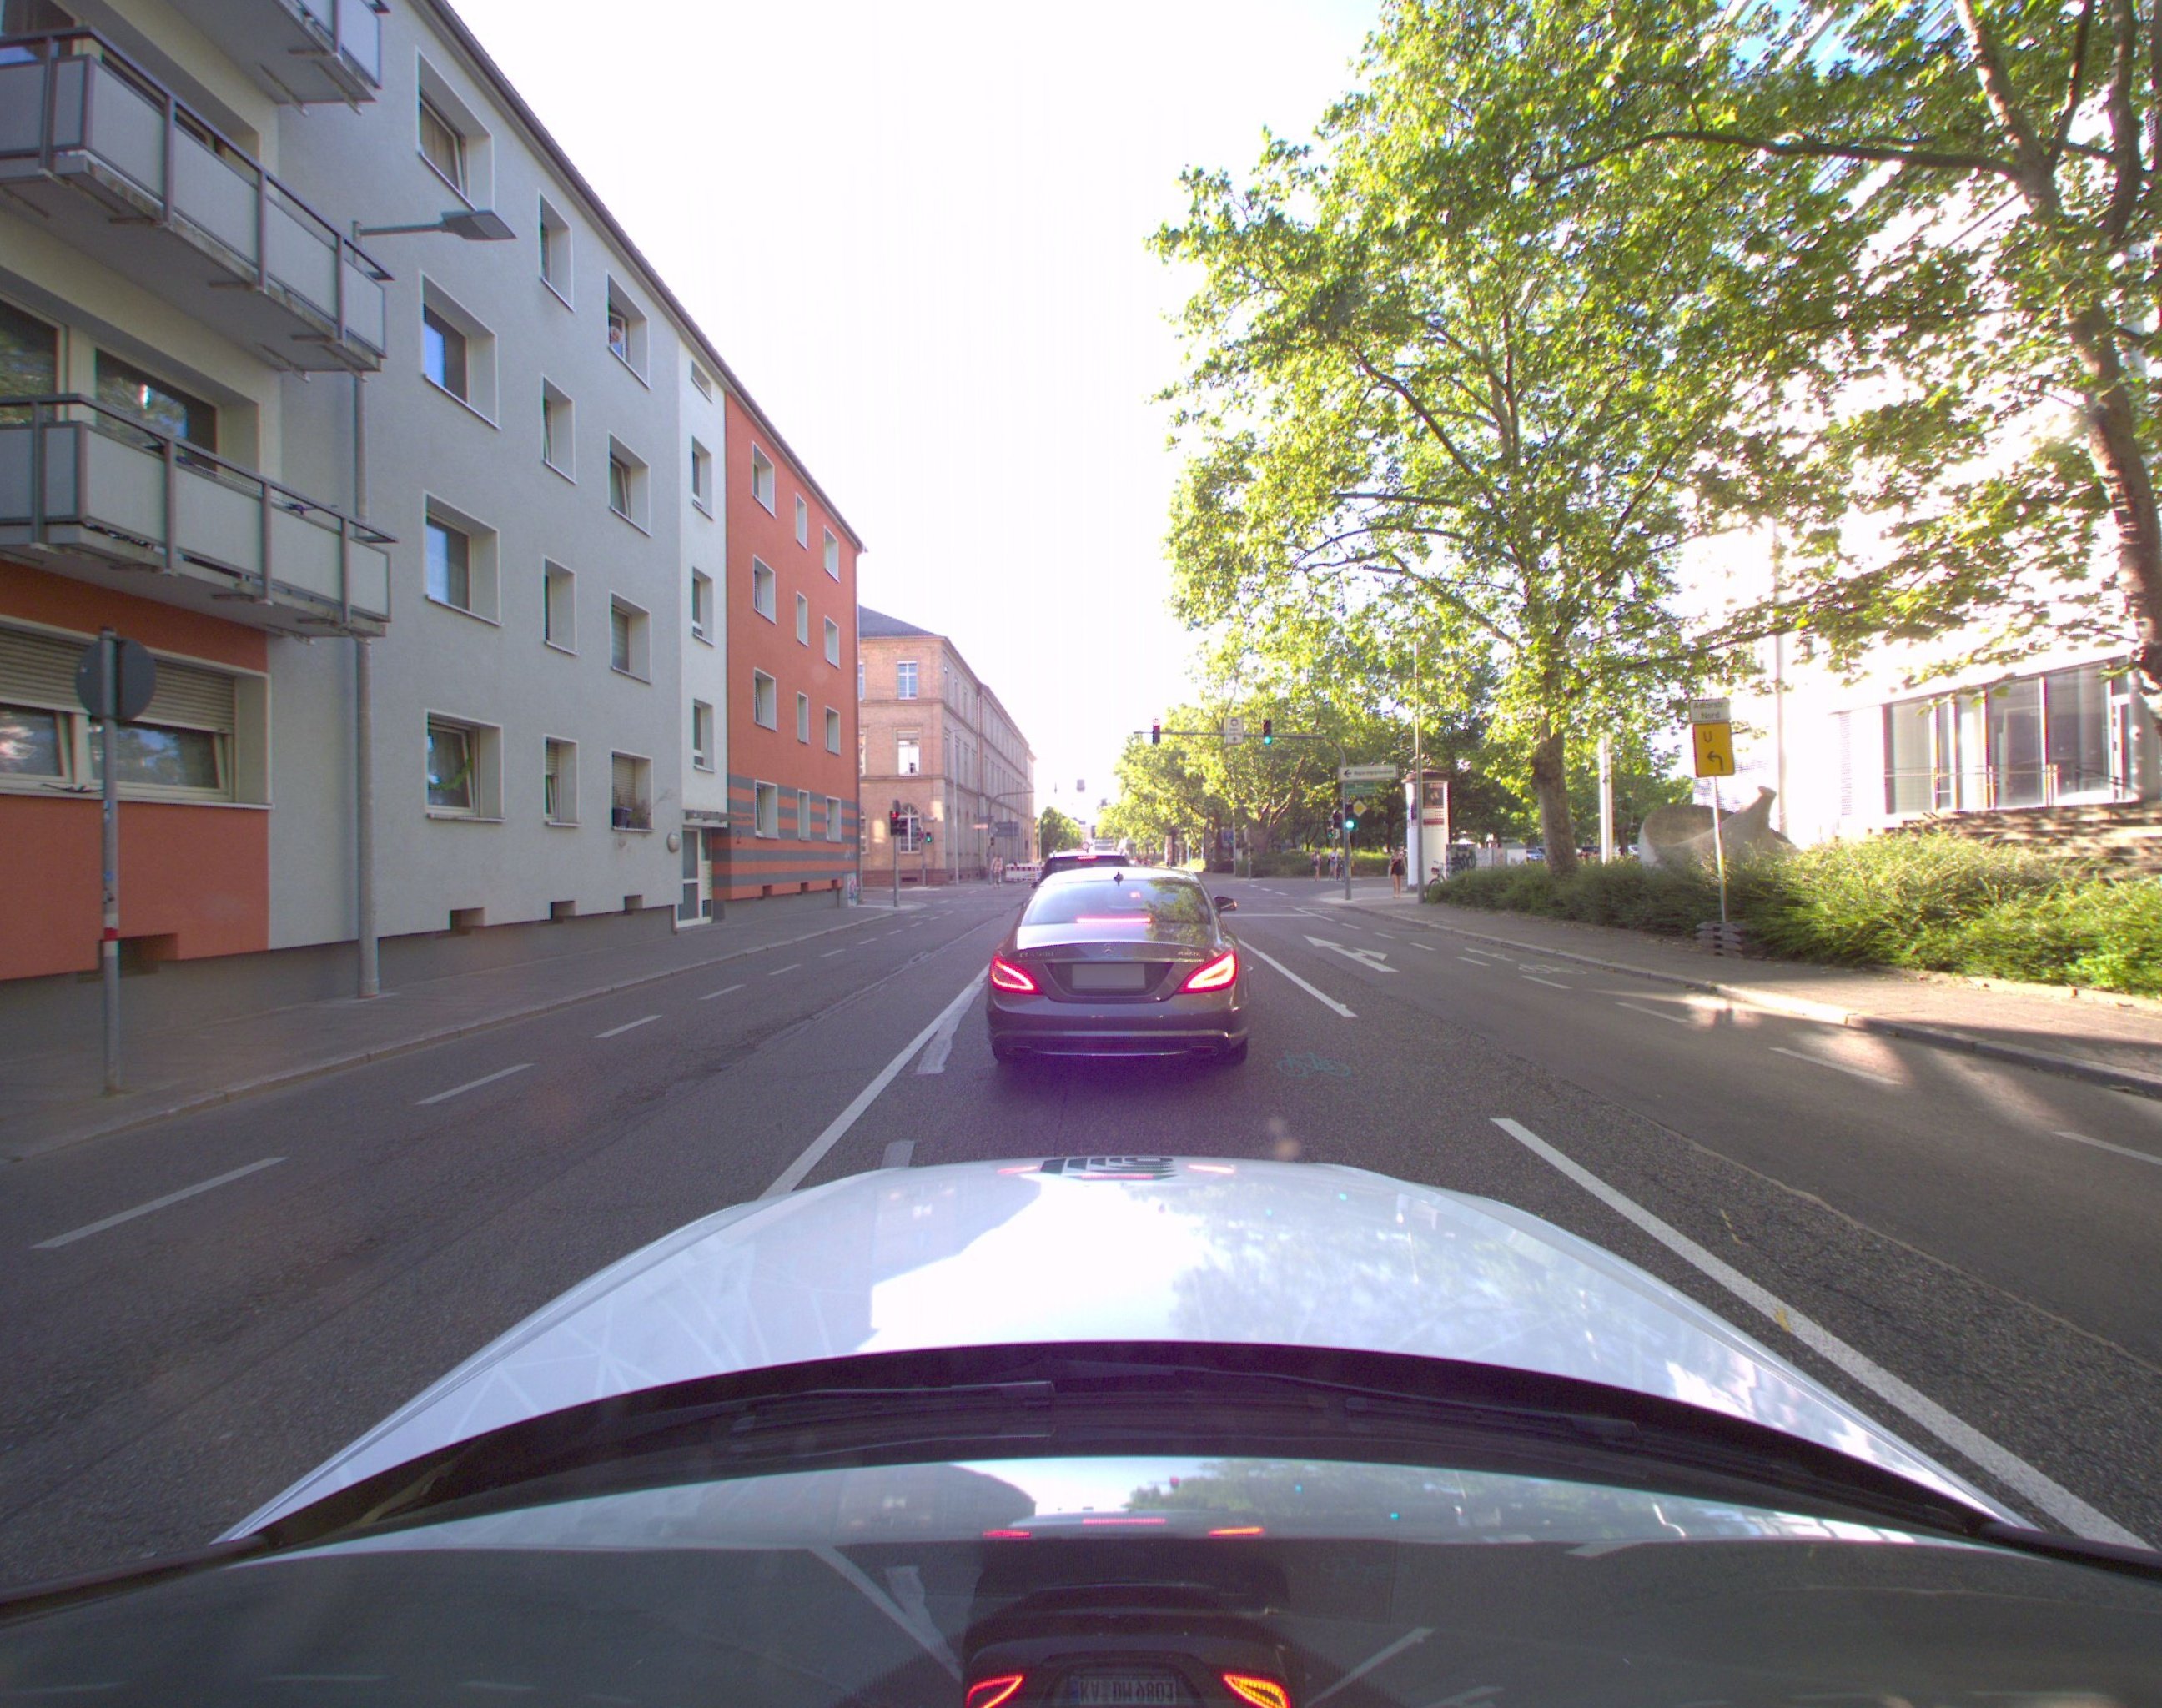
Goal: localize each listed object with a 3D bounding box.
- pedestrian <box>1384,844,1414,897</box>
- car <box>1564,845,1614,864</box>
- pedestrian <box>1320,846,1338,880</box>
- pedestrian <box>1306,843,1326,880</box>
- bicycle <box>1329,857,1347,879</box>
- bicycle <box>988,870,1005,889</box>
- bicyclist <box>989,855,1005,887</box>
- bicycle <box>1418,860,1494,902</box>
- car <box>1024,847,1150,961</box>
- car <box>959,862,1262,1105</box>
[{"bbox_3d":[10.239,0.521,26.238,0.791,1.630,0.912,-3,-2,19],"label":"pedestrian"},{"bbox_3d":[39.745,0.043,63.812,1.624,1.483,3.796,0,-1,1],"label":"car"},{"bbox_3d":[12.583,0.453,41.342,0.680,1.697,0.972,0,-1,6],"label":"pedestrian"},{"bbox_3d":[11.951,0.395,41.484,0.729,1.808,0.909,-2,-2,1],"label":"pedestrian"},{"bbox_3d":[13.009,0.711,41.253,0.521,1.100,1.744,0,-1,6],"label":"bicycle"},{"bbox_3d":[-4.140,1.222,39.949,0.546,0.891,1.868,0,-1,2],"label":"bicycle"},{"bbox_3d":[-4.119,0.811,40.027,0.646,1.558,0.807,0,-1,1],"label":"bicyclist"},{"bbox_3d":[10.805,0.768,23.490,1.969,1.190,0.528,0,-1,0],"label":"bicycle"},{"bbox_3d":[0.204,0.741,13.850,1.801,1.612,4.003,-1,-1,3],"label":"car"},{"bbox_3d":[0.461,0.799,7.197,1.833,1.429,4.527,0,0,8],"label":"car"}]
